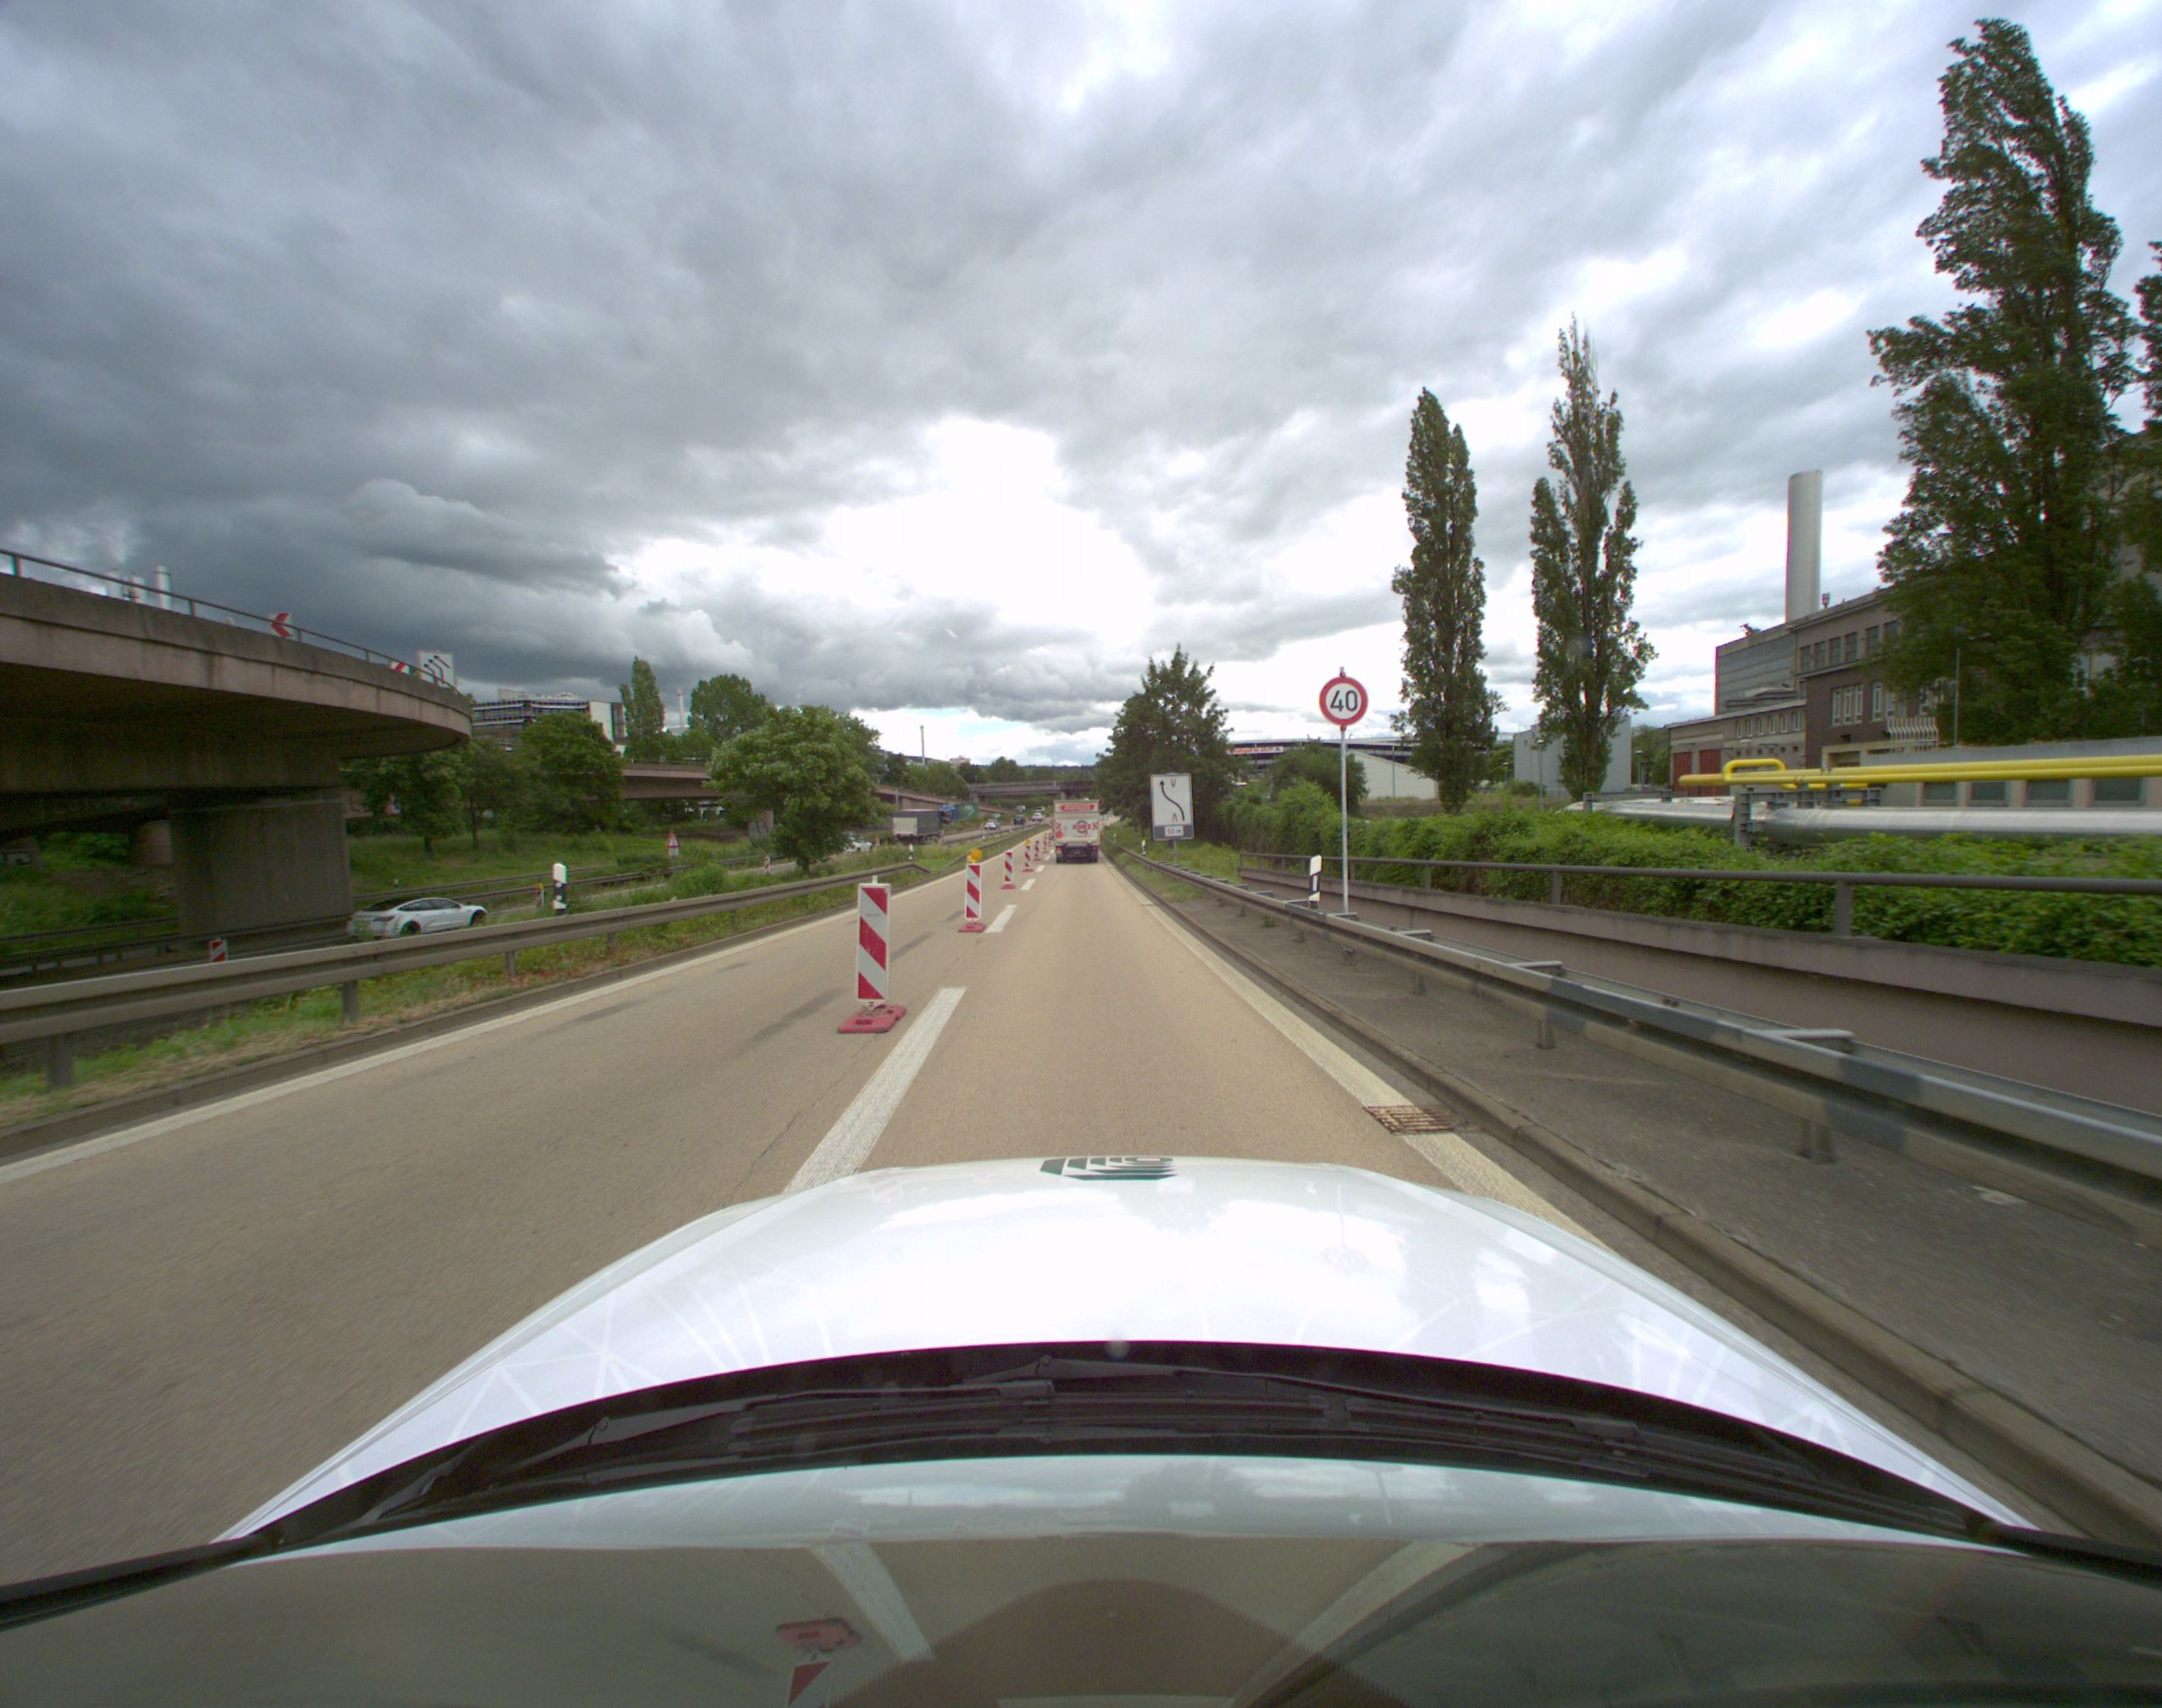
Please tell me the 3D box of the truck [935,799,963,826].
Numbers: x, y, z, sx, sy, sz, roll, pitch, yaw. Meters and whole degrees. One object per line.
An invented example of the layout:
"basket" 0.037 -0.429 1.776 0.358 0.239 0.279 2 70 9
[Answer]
"truck" -21.292 -6.736 131.558 2.737 4.270 5.517 -1 3 8

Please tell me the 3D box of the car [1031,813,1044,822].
"car" -8.156 -6.782 152.423 1.984 1.617 4.006 -1 3 4

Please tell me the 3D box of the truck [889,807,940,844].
"truck" -17.212 -3.027 84.644 3.036 3.655 7.408 -1 3 5

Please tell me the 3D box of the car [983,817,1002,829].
"car" -12.884 -4.544 119.272 1.984 1.617 4.006 -1 3 4

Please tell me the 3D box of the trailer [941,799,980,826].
"trailer" -20.313 -7.162 138.518 2.756 4.292 14.015 -1 3 8

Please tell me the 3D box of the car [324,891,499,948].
"car" -24.589 2.345 30.207 1.982 1.455 4.814 -1 3 9

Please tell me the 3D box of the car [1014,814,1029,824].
"car" -9.960 -5.941 137.042 1.984 1.617 4.006 -1 3 4

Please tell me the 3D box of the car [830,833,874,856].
"car" -19.375 -0.815 69.181 1.982 1.712 4.112 -1 3 9

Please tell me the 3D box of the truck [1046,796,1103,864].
"truck" -0.342 -1.444 48.354 3.041 3.672 7.927 -1 2 0

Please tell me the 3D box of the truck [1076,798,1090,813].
"truck" 0.558 -12.836 215.979 3.271 3.851 7.676 -1 3 4
